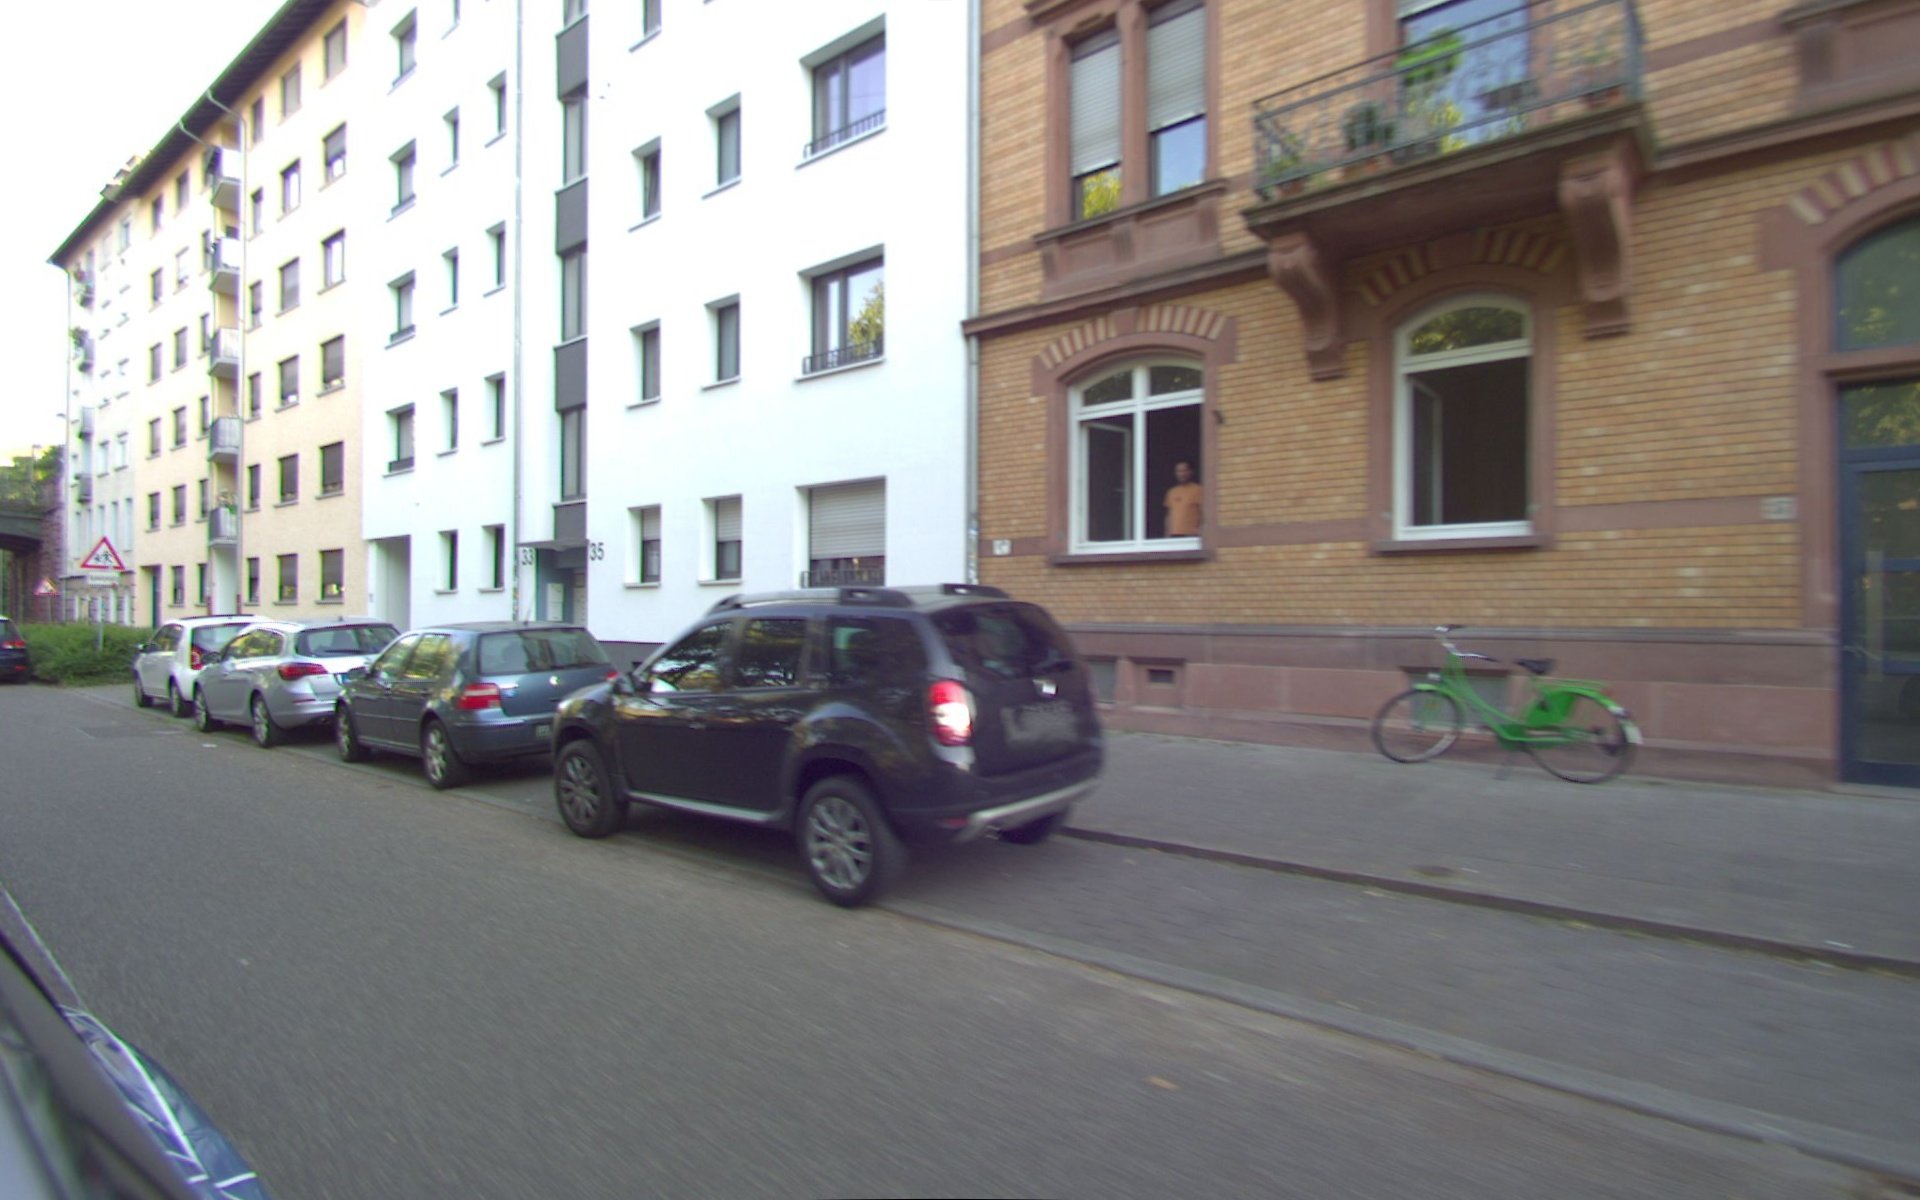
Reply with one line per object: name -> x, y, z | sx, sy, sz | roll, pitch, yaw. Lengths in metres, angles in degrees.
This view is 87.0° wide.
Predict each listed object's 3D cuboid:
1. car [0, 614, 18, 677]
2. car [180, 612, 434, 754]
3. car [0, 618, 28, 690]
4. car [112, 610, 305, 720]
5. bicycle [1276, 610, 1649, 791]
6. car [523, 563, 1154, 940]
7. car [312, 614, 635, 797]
car -> -25.285, 1.112, 25.601 | 3.771, 1.537, 1.685 | -1, -2, 40
car -> -8.603, 0.948, 13.186 | 4.282, 1.482, 1.651 | -1, 2, 42
car -> -21.576, 1.115, 21.868 | 3.999, 1.490, 1.721 | -1, -2, 42
car -> -12.390, 0.971, 16.607 | 3.997, 1.519, 1.651 | -1, 2, 41
bicycle -> 3.850, 0.715, 7.965 | 2.513, 1.216, 0.729 | -2, -1, 42
car -> -1.019, 0.713, 6.658 | 4.197, 1.719, 1.734 | -1, 0, 40
car -> -5.074, 0.903, 10.300 | 4.000, 1.462, 1.598 | -1, 0, 43
